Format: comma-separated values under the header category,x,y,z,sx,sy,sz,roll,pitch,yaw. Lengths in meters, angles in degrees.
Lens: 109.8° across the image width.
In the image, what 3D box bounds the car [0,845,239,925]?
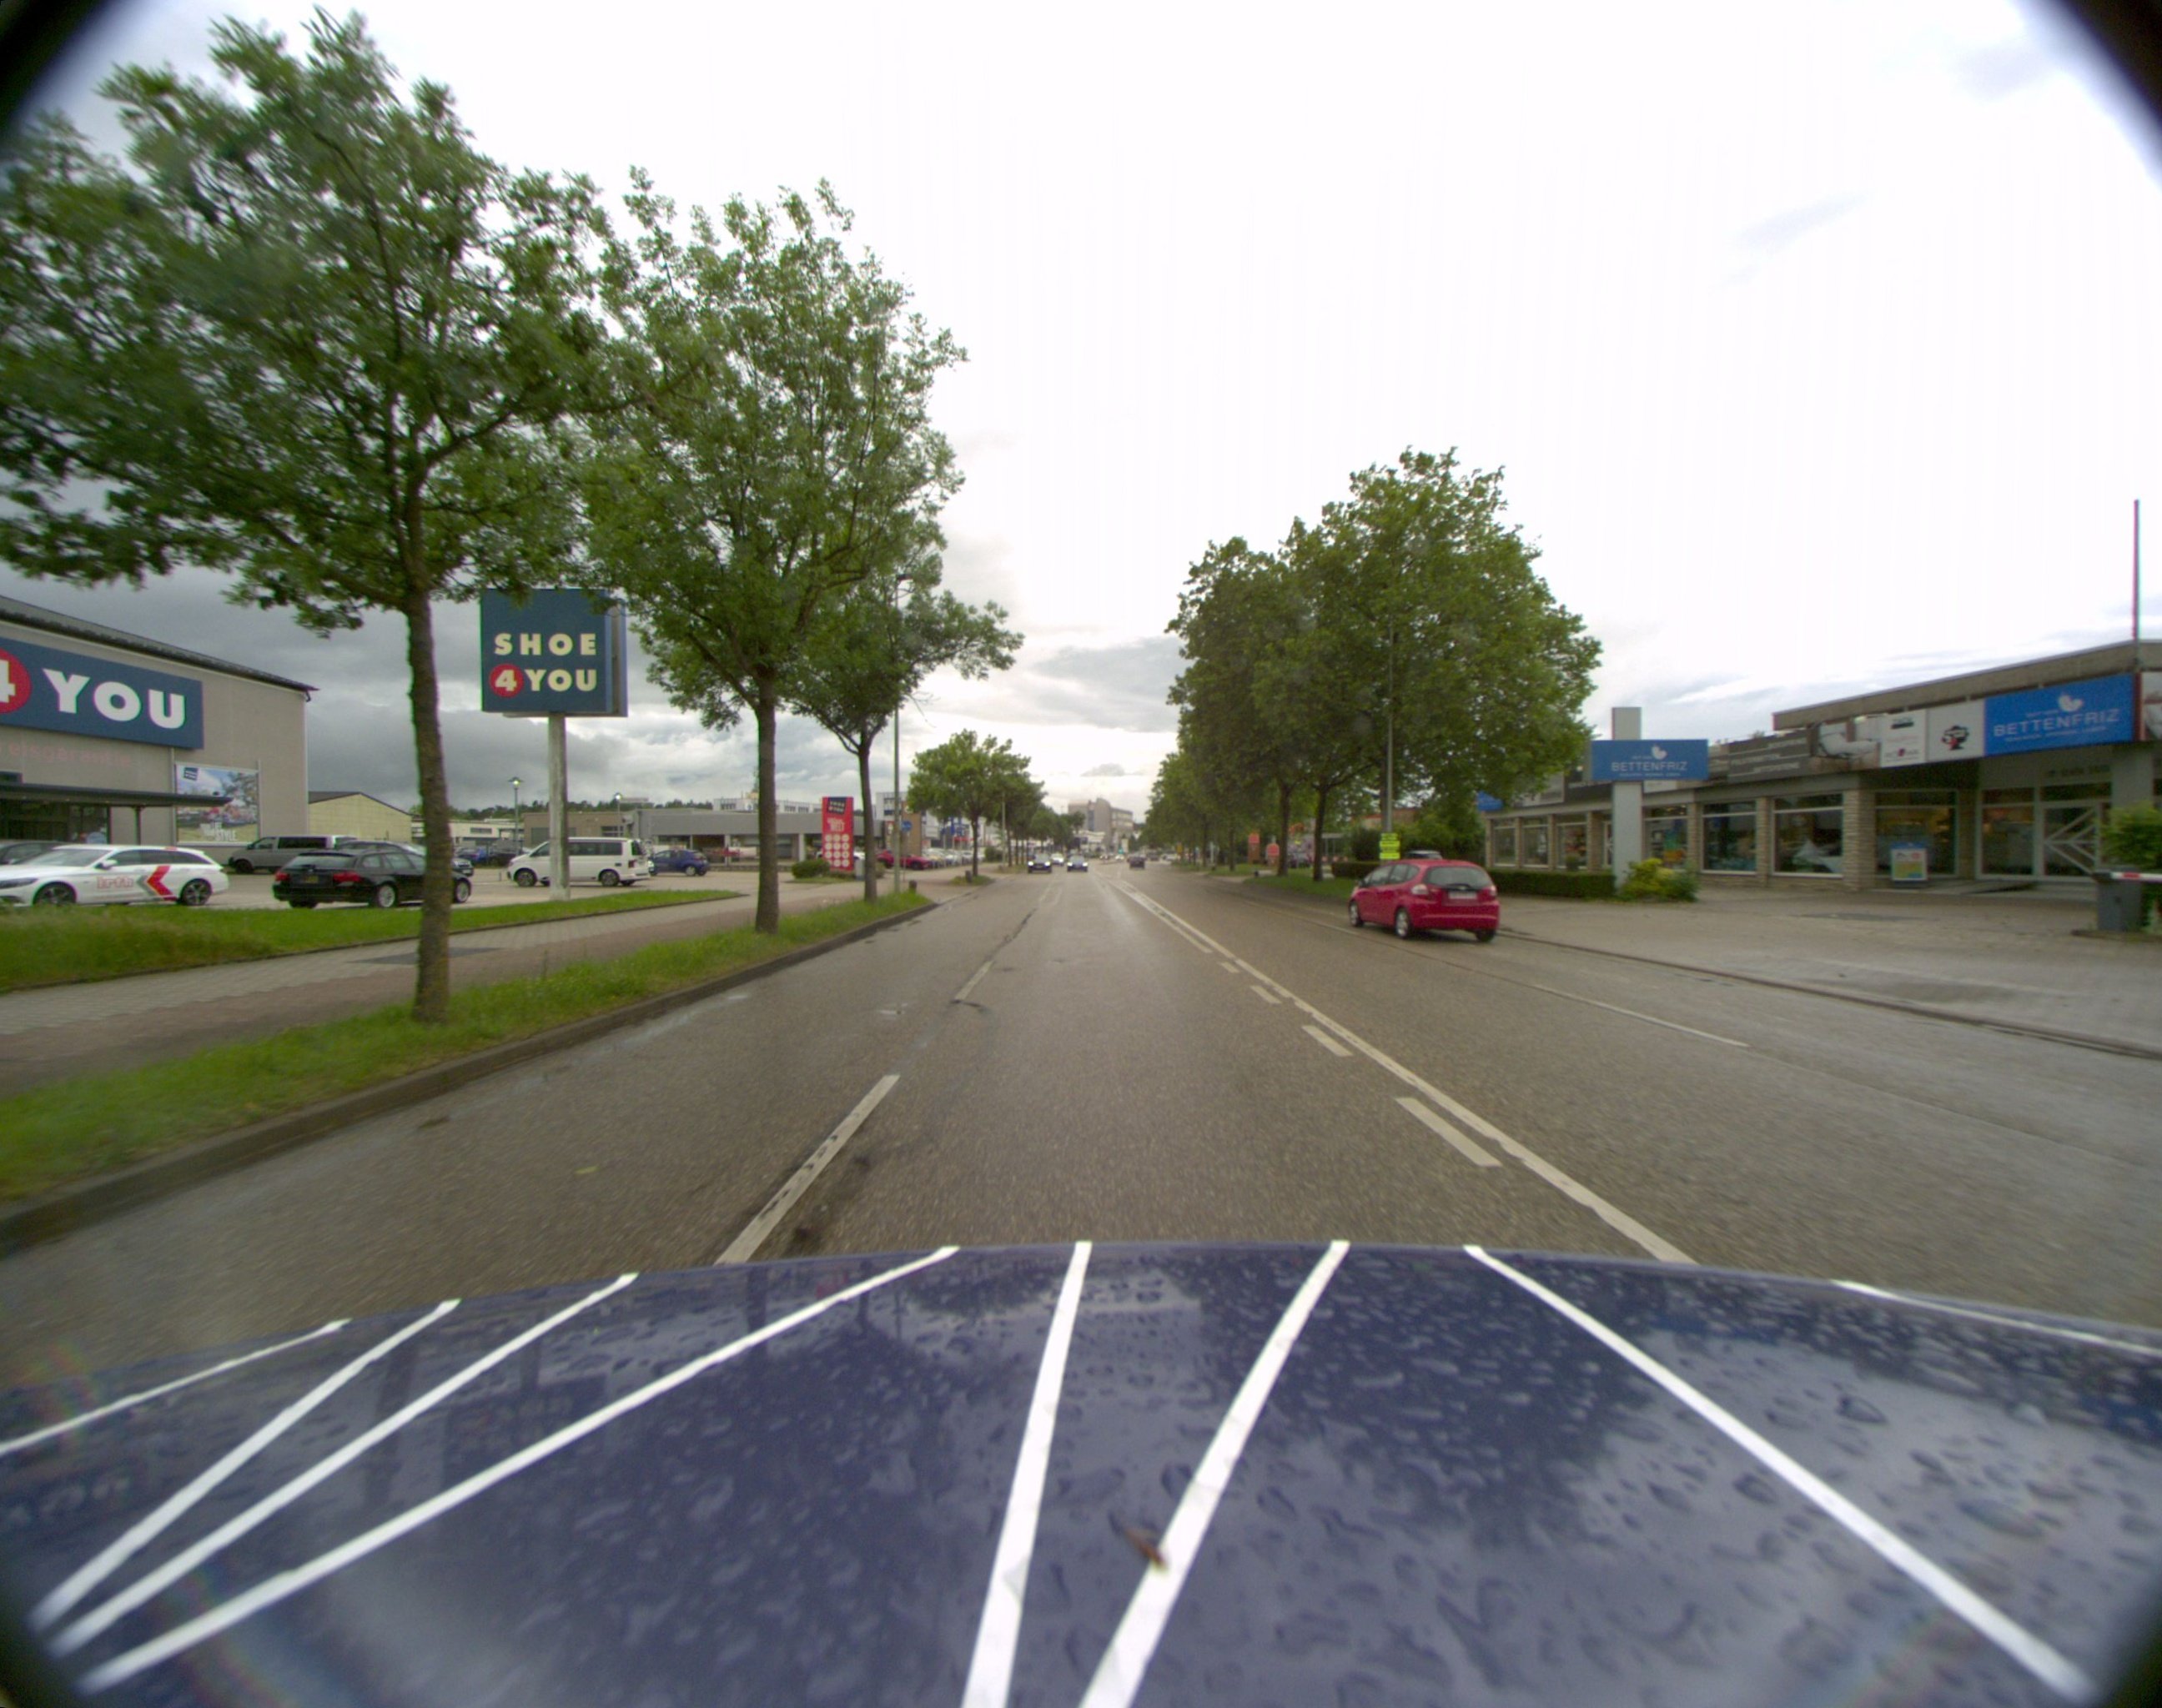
category,x,y,z,sx,sy,sz,roll,pitch,yaw
car,-21.905,0.617,16.791,1.905,1.539,4.523,-2,1,-8

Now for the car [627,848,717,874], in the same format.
category,x,y,z,sx,sy,sz,roll,pitch,yaw
car,-22.432,0.405,41.816,4.001,1.390,1.675,0,0,-11

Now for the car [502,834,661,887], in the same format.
category,x,y,z,sx,sy,sz,roll,pitch,yaw
car,-19.995,0.260,30.660,4.966,2.002,1.998,1,1,-11

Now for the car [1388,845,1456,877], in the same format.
category,x,y,z,sx,sy,sz,roll,pitch,yaw
car,17.585,0.304,39.371,1.746,1.525,4.000,2,1,2

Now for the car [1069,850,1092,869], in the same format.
category,x,y,z,sx,sy,sz,roll,pitch,yaw
car,-0.045,0.492,69.978,1.998,1.632,4.360,-2,1,1

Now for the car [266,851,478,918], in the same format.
category,x,y,z,sx,sy,sz,roll,pitch,yaw
car,-16.997,0.662,18.552,1.755,1.405,4.132,1,1,-9

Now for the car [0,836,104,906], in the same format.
category,x,y,z,sx,sy,sz,roll,pitch,yaw
car,-24.764,0.414,16.691,2.000,1.543,3.656,-2,1,-7

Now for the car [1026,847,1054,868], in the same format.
category,x,y,z,sx,sy,sz,roll,pitch,yaw
car,-3.378,0.252,63.230,1.998,1.632,4.360,-2,1,1

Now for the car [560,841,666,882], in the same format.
category,x,y,z,sx,sy,sz,roll,pitch,yaw
car,-23.163,0.353,37.727,4.000,1.787,1.821,-2,1,-8

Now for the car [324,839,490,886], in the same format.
category,x,y,z,sx,sy,sz,roll,pitch,yaw
car,-26.259,0.331,29.774,4.454,1.752,1.998,0,1,-10

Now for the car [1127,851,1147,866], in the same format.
category,x,y,z,sx,sy,sz,roll,pitch,yaw
car,6.355,0.535,86.591,1.998,1.632,4.360,0,0,1

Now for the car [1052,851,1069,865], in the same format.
category,x,y,z,sx,sy,sz,roll,pitch,yaw
car,-2.681,0.530,98.808,1.998,1.632,4.360,-2,1,1

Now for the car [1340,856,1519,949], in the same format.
category,x,y,z,sx,sy,sz,roll,pitch,yaw
car,6.799,0.865,15.351,1.746,1.525,3.999,2,1,0
